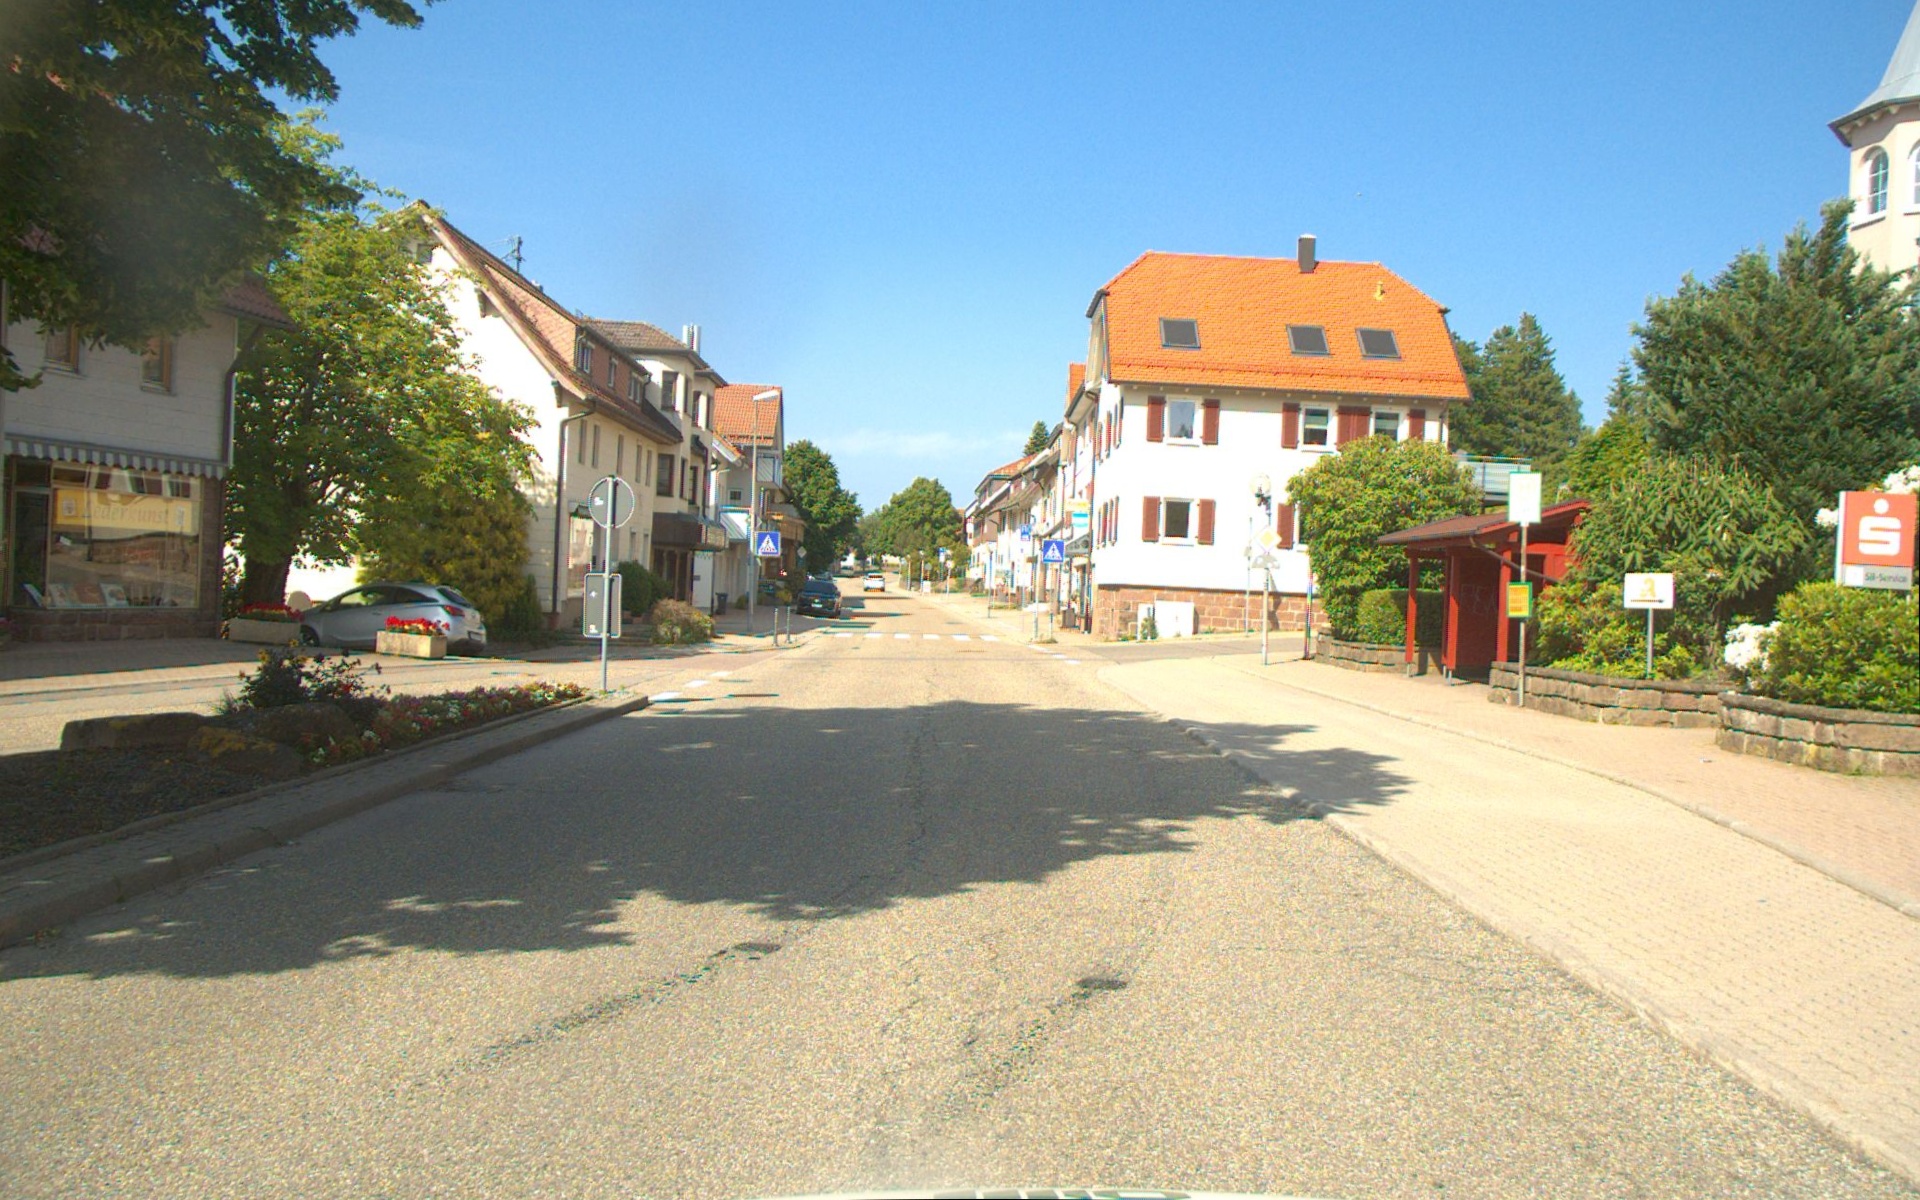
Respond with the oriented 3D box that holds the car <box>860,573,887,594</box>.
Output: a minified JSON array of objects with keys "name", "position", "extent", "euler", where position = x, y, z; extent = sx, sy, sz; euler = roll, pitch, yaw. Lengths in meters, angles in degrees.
[{"name":"car","position":[-8.436,-1.606,161.162],"extent":[2.445,2.049,4.303],"euler":[-1,0,-2]}]

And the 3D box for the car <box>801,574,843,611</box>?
[{"name":"car","position":[-6.445,-0.370,77.518],"extent":[1.639,1.559,3.535],"euler":[6,1,-1]}]

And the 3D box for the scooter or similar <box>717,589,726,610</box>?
[{"name":"scooter or similar","position":[-10.344,-0.016,71.717],"extent":[0.345,0.905,0.394],"euler":[0,0,-7]}]

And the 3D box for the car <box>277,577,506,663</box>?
[{"name":"car","position":[-10.843,0.409,31.656],"extent":[3.679,1.480,1.819],"euler":[-1,-5,11]}]
